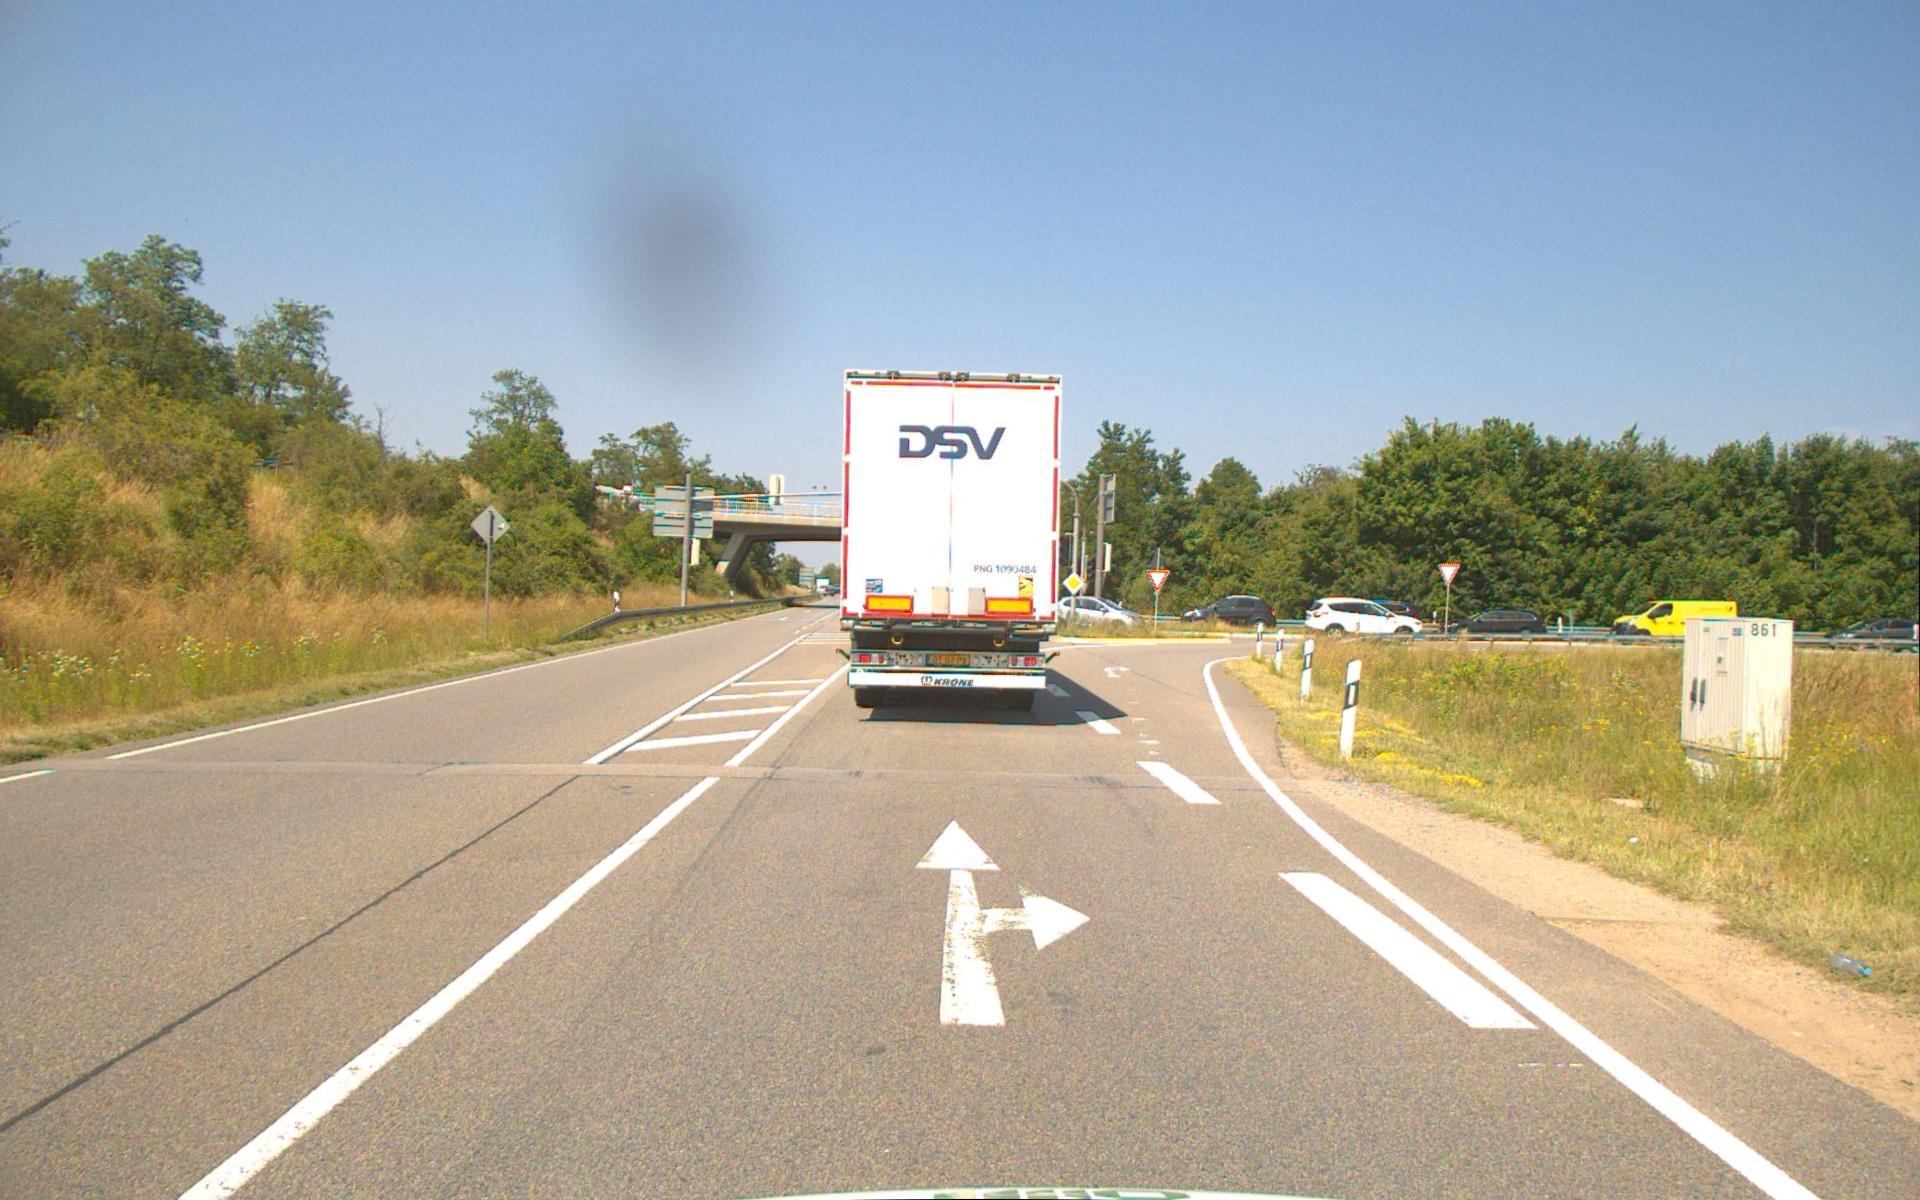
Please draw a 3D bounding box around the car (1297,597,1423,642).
[{"bbox_3d":[15.241,0.746,63.117,4.376,1.594,1.739,1,-1,1],"label":"car"}]

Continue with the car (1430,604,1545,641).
[{"bbox_3d":[23.504,0.983,73.856,4.583,1.540,1.854,1,-1,6],"label":"car"}]

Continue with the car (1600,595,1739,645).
[{"bbox_3d":[30.910,0.857,72.129,5.213,2.049,2.000,1,-1,0],"label":"car"}]

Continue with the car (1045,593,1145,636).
[{"bbox_3d":[5.285,0.570,64.608,3.603,1.594,1.740,1,-1,14],"label":"car"}]

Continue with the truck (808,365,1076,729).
[{"bbox_3d":[-0.285,-0.588,23.430,2.927,4.011,9.873,1,0,-1],"label":"truck"}]

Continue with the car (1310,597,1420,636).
[{"bbox_3d":[17.701,0.720,72.407,4.393,1.626,1.768,1,-1,2],"label":"car"}]

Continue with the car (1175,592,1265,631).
[{"bbox_3d":[11.665,0.512,74.386,3.901,1.668,1.842,1,-1,5],"label":"car"}]
